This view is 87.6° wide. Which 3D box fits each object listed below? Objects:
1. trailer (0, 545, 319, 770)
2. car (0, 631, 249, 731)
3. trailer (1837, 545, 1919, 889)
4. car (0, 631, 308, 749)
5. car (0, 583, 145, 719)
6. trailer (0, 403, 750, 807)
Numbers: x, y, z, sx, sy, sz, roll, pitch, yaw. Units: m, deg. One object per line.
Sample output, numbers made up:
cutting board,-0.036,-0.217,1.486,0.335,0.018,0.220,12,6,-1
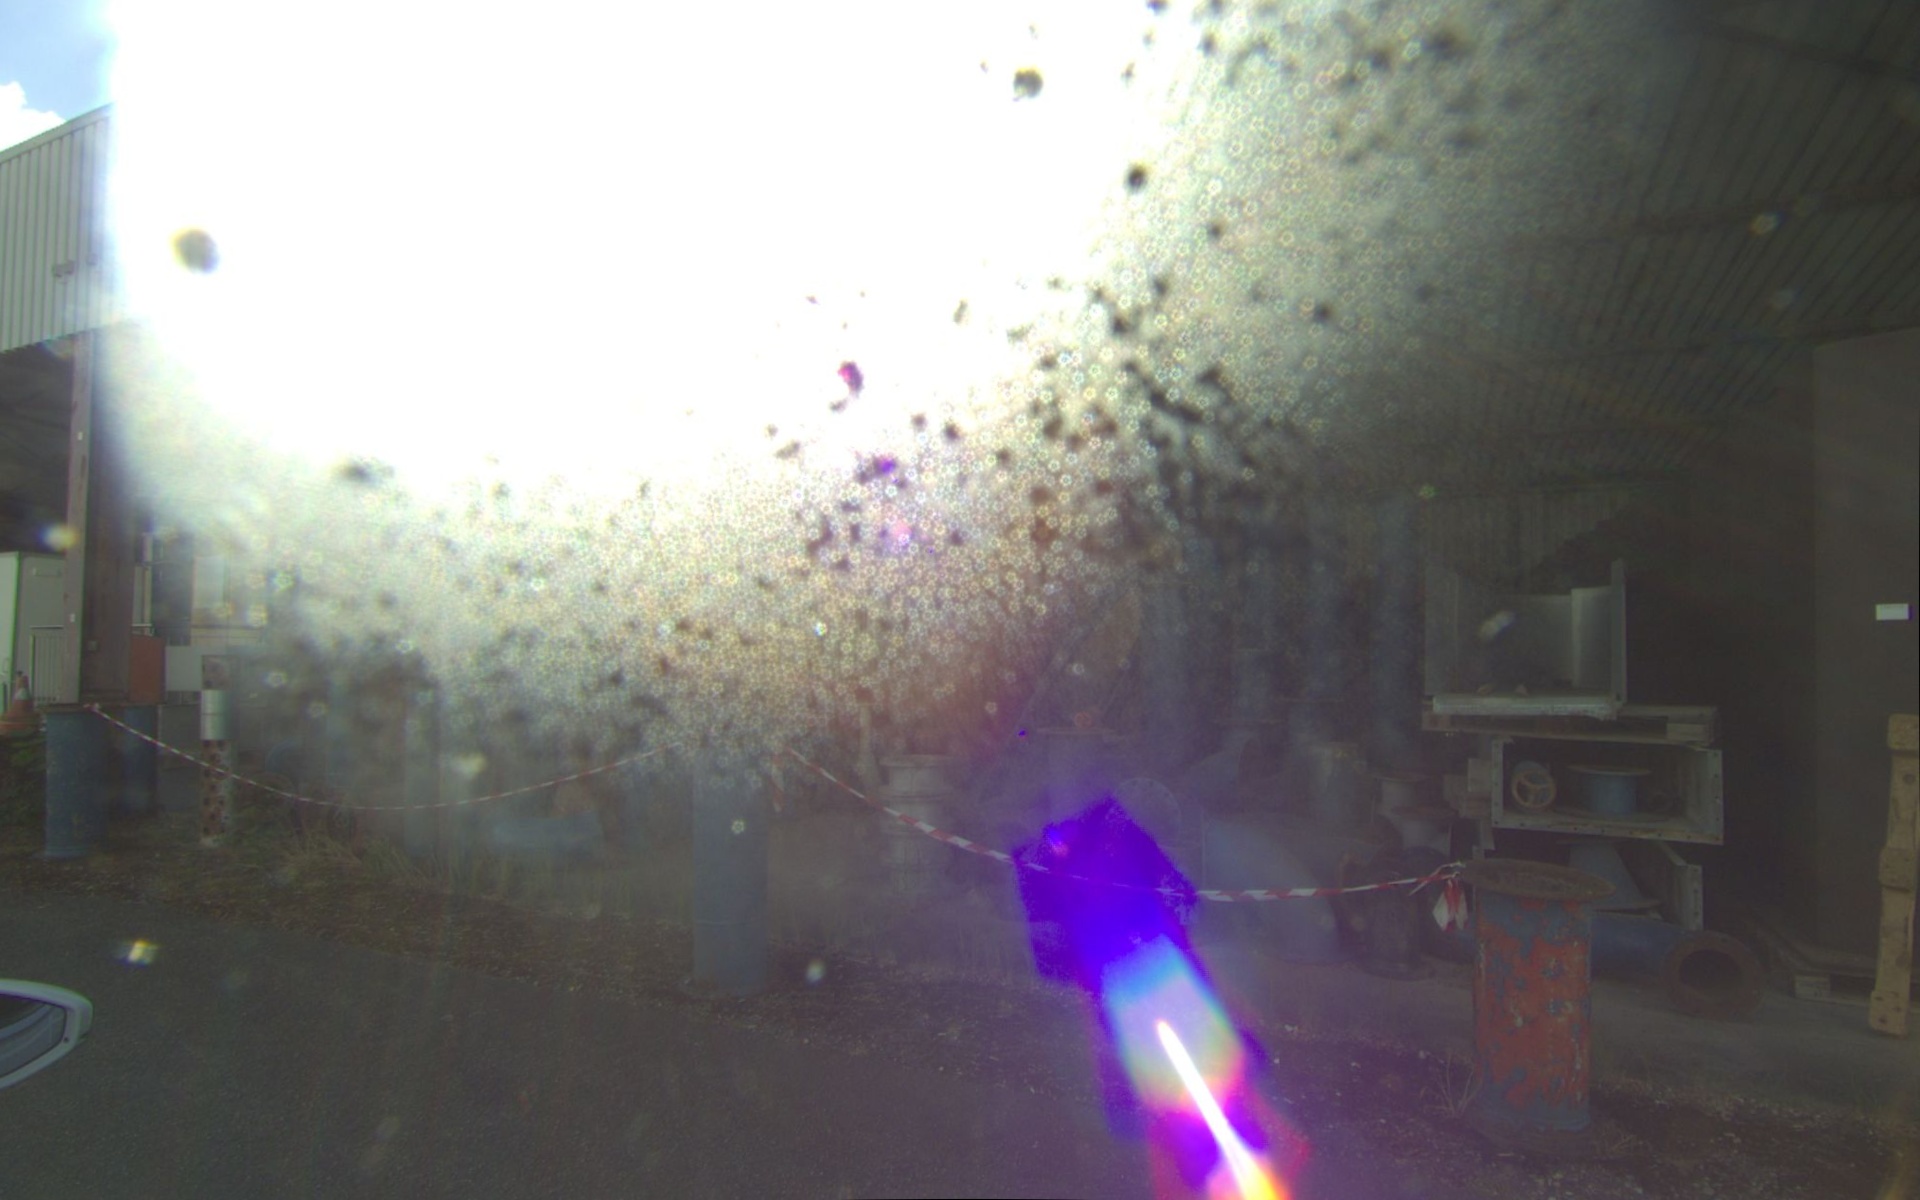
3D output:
trailer,-10.392,0.648,11.824,1.661,2.365,4.542,0,-2,26
car,-14.385,1.255,16.399,1.820,1.472,4.109,-1,-2,25
trailer,6.092,0.641,4.604,2.015,2.022,4.815,-1,-2,28
car,-12.055,1.184,14.287,1.833,1.451,4.349,-1,-2,22
car,-17.536,0.866,17.100,2.050,2.326,5.220,-1,-3,24
trailer,-7.032,0.202,13.136,2.632,3.337,10.295,0,-2,26
